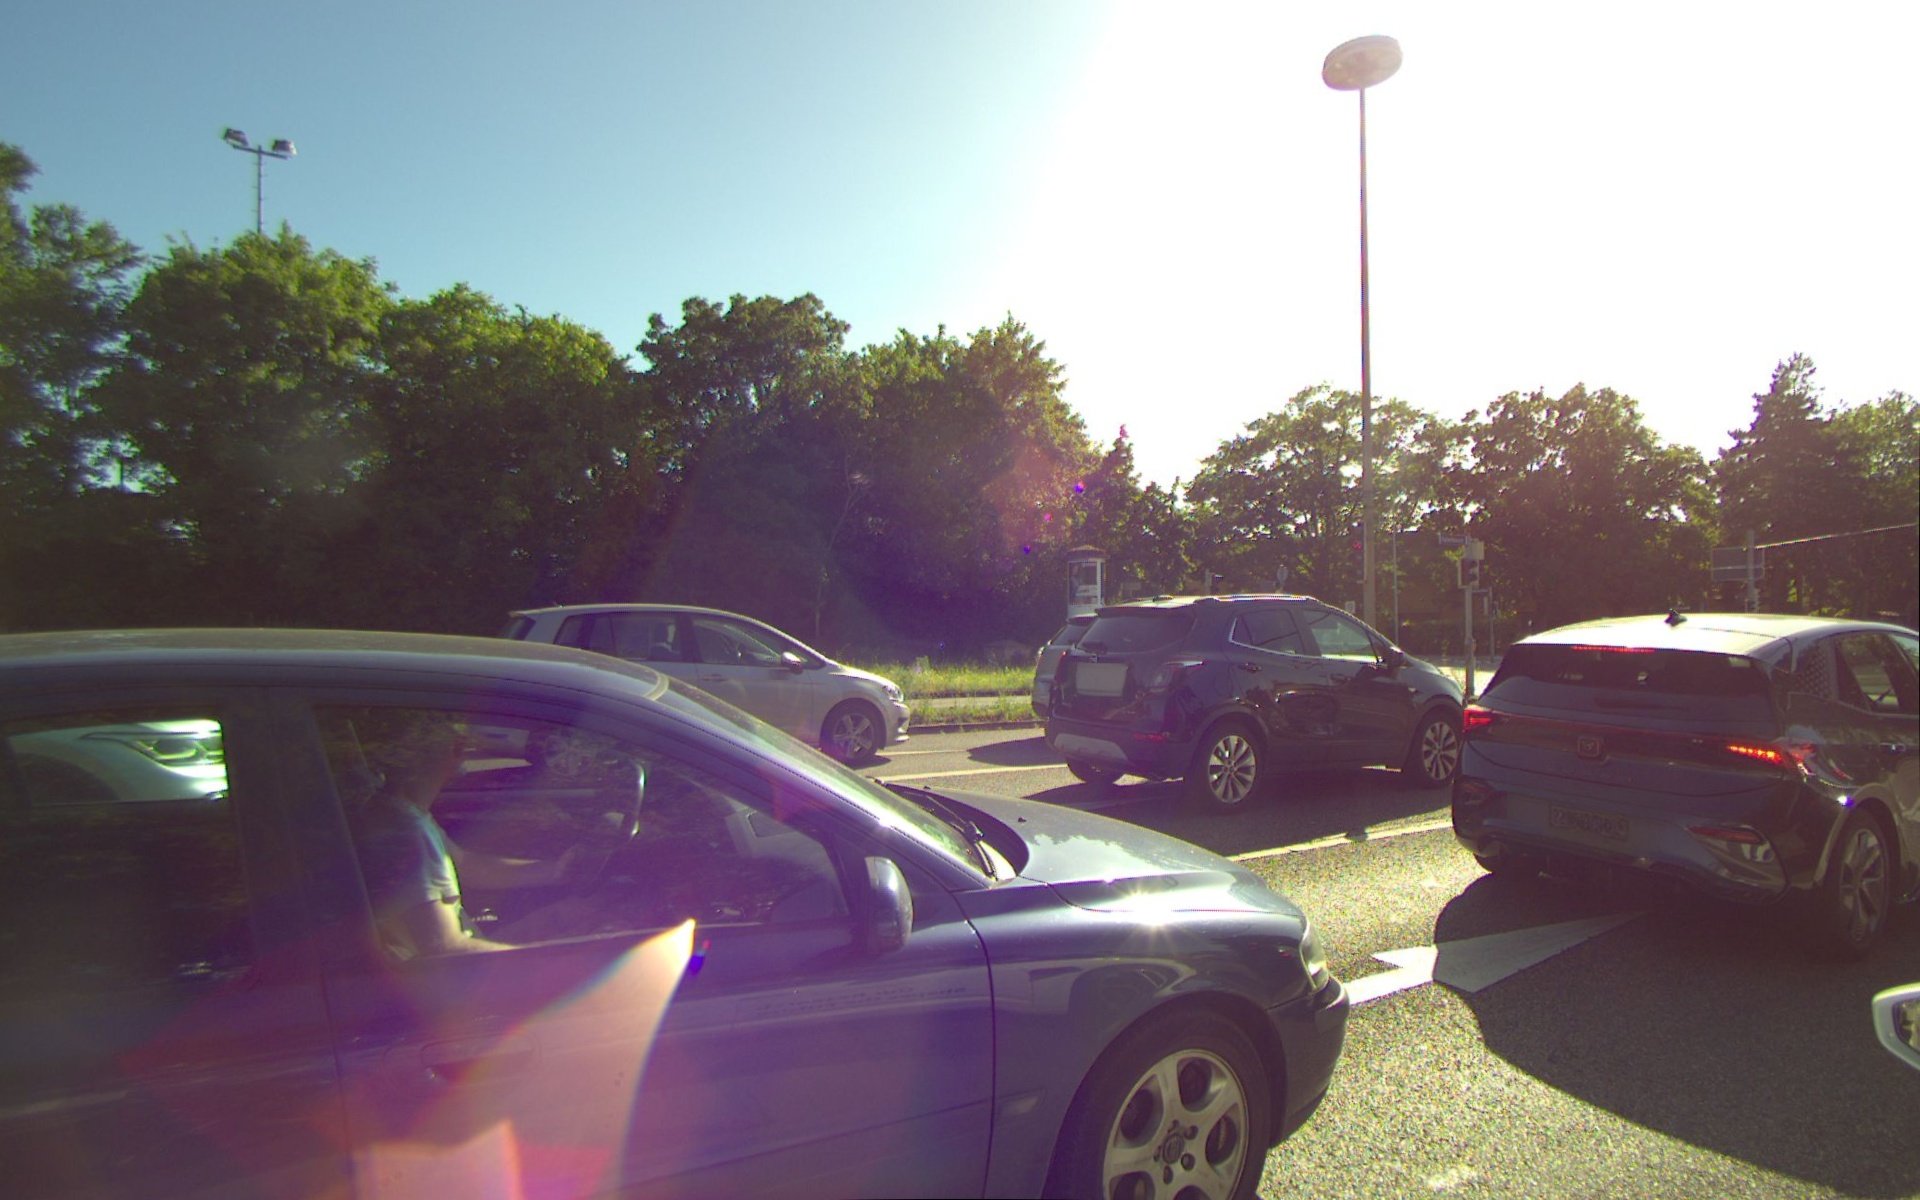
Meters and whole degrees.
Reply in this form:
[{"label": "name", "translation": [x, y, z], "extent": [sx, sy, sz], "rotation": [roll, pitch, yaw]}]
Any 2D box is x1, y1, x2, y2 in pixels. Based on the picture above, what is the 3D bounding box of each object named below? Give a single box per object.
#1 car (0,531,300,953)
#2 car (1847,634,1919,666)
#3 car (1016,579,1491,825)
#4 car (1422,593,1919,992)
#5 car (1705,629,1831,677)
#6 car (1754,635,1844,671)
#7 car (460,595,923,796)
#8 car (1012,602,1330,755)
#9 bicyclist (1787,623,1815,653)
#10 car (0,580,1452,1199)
[{"label": "car", "translation": [-5.555, 0.590, 4.334], "extent": [4.373, 1.732, 1.984], "rotation": [1, -2, -30]}, {"label": "car", "translation": [44.779, 2.394, 48.562], "extent": [3.956, 1.529, 1.678], "rotation": [1, -2, -30]}, {"label": "car", "translation": [2.620, 0.768, 8.800], "extent": [3.953, 1.711, 1.796], "rotation": [1, -2, -30]}, {"label": "car", "translation": [4.740, 0.826, 5.821], "extent": [4.158, 1.601, 1.676], "rotation": [2, -1, -30]}, {"label": "car", "translation": [27.479, 1.757, 34.141], "extent": [4.451, 1.544, 1.880], "rotation": [1, -2, -30]}, {"label": "car", "translation": [35.679, 2.233, 42.710], "extent": [4.172, 1.475, 1.633], "rotation": [1, -2, -30]}, {"label": "car", "translation": [-2.613, 0.835, 10.011], "extent": [4.156, 1.632, 1.822], "rotation": [1, -2, -30]}, {"label": "car", "translation": [2.810, 0.953, 13.187], "extent": [3.956, 1.724, 1.820], "rotation": [1, -2, -32]}, {"label": "bicyclist", "translation": [46.429, 2.107, 55.477], "extent": [1.187, 1.670, 0.870], "rotation": [1, -2, -35]}, {"label": "car", "translation": [-1.096, 0.724, 2.207], "extent": [4.404, 1.471, 1.767], "rotation": [2, 0, -30]}]
